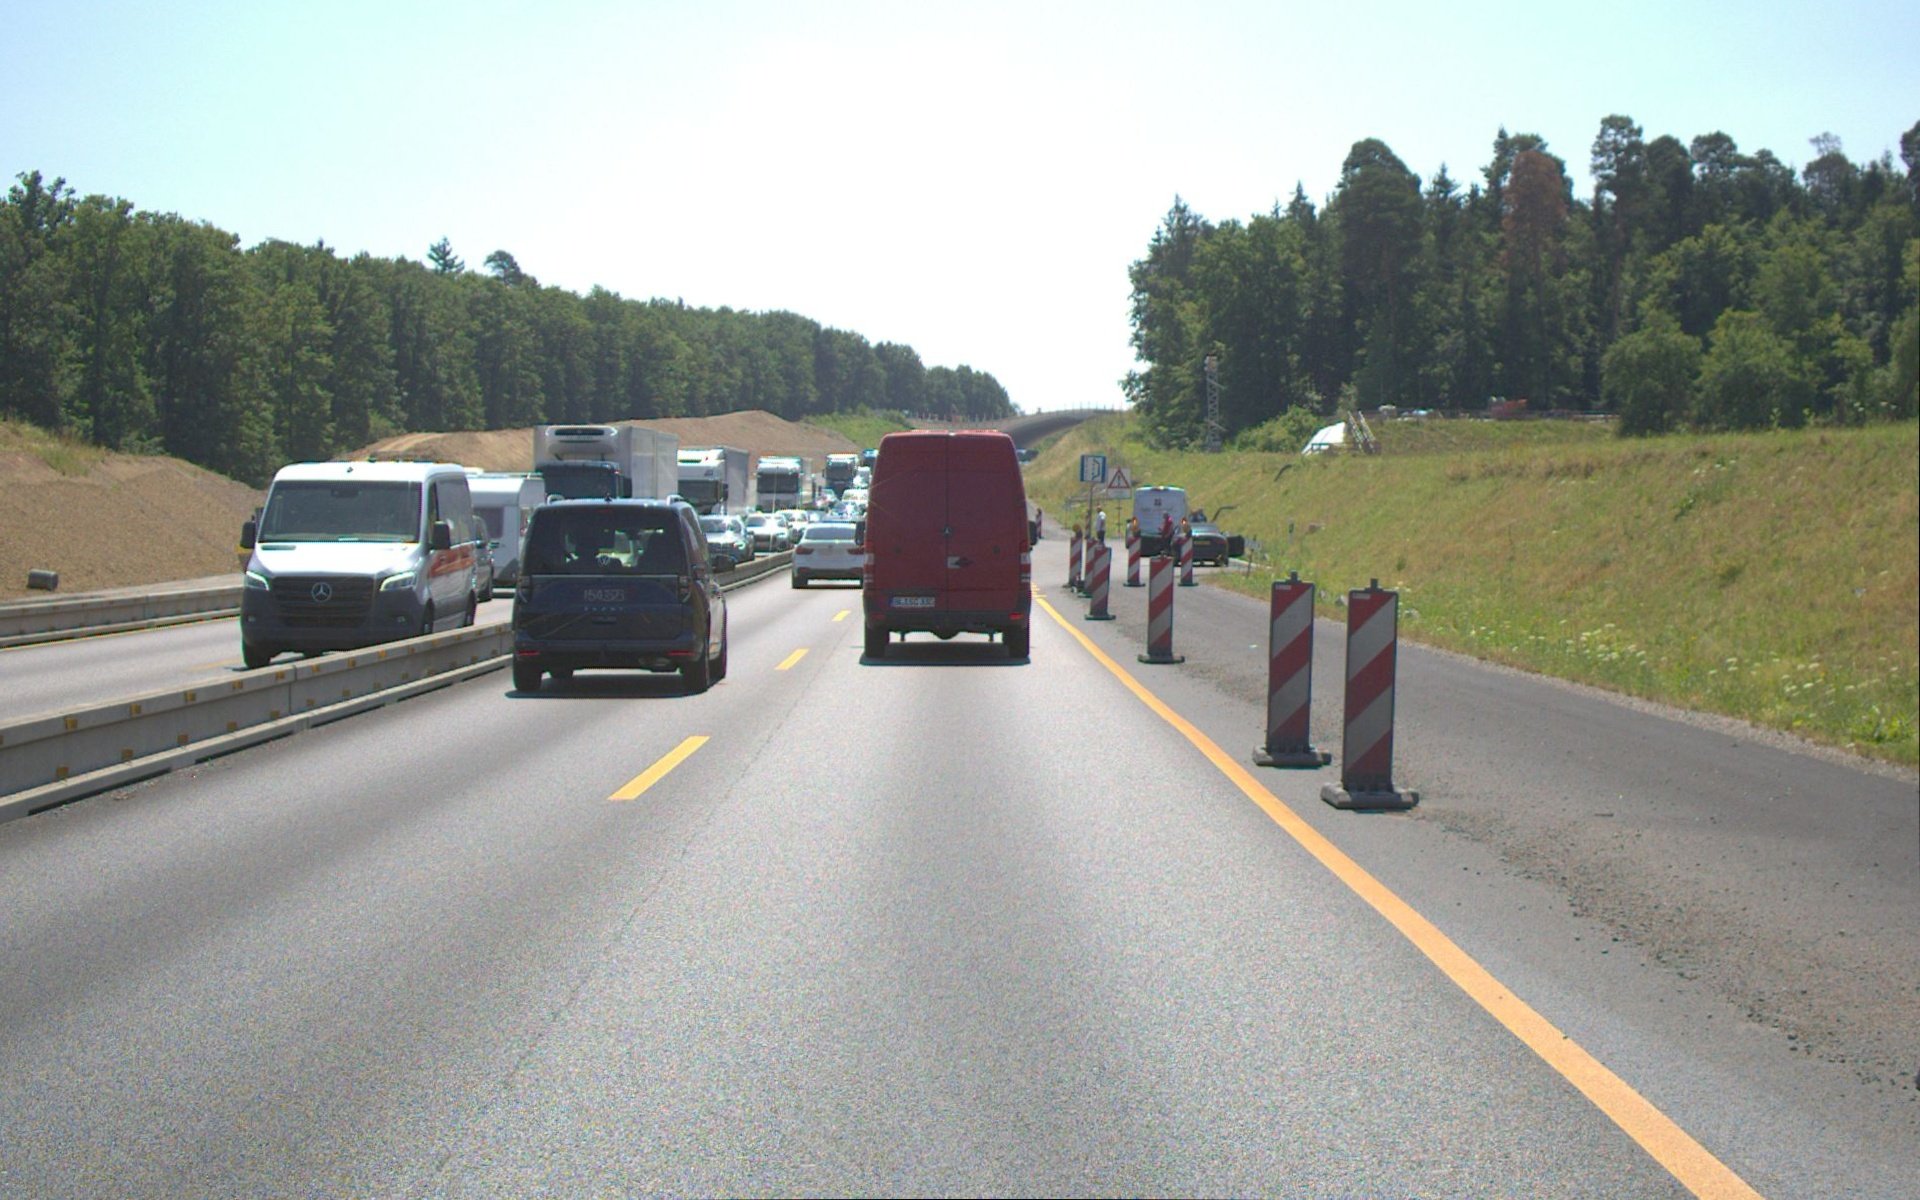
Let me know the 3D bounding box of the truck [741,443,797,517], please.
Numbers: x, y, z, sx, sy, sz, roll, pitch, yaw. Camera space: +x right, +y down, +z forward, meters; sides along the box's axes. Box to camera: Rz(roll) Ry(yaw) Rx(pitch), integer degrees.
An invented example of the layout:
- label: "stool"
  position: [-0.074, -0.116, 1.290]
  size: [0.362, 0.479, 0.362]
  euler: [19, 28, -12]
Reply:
- label: "truck"
  position: [-10.783, -6.771, 194.537]
  size: [2.768, 4.030, 4.943]
  euler: [1, 1, 1]

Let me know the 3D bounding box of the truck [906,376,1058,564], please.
- label: "truck"
  position: [0.662, -3.934, 109.567]
  size: [4.400, 5.477, 16.604]
  euler: [1, 1, 0]

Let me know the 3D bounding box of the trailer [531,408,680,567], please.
- label: "trailer"
  position: [-10.043, -3.179, 99.136]
  size: [2.502, 4.165, 15.535]
  euler: [-1, 1, 0]

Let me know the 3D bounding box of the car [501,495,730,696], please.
- label: "car"
  position: [-3.308, -0.114, 33.791]
  size: [1.751, 1.818, 4.783]
  euler: [1, 2, 0]

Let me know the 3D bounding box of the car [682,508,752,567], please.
- label: "car"
  position: [-6.903, -1.773, 98.009]
  size: [1.688, 1.608, 4.594]
  euler: [1, 1, 0]

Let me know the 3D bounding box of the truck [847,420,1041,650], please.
- label: "truck"
  position: [-0.268, -0.773, 41.715]
  size: [2.153, 2.581, 5.334]
  euler: [1, 1, -2]

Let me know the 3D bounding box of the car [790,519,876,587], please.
- label: "car"
  position: [-2.933, -1.102, 79.957]
  size: [1.831, 1.517, 3.961]
  euler: [1, 1, 0]

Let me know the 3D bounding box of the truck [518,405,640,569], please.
- label: "truck"
  position: [-10.103, -2.996, 91.688]
  size: [2.491, 4.184, 5.912]
  euler: [-1, 1, 0]

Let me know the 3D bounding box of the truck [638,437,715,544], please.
- label: "truck"
  position: [-10.979, -4.253, 133.553]
  size: [2.591, 4.039, 5.150]
  euler: [1, 2, -1]

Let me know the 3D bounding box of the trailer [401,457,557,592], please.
- label: "trailer"
  position: [-10.106, -1.609, 72.780]
  size: [2.311, 2.677, 6.756]
  euler: [-1, 1, 0]

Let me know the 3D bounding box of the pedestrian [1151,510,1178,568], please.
- label: "pedestrian"
  position: [6.510, -1.933, 109.357]
  size: [0.640, 1.822, 0.559]
  euler: [0, 2, -21]

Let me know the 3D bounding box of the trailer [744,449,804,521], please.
- label: "trailer"
  position: [-10.831, -6.726, 201.598]
  size: [2.790, 4.061, 13.712]
  euler: [1, 2, 0]

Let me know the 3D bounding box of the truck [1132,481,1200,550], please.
- label: "truck"
  position: [7.702, -3.171, 127.976]
  size: [2.130, 2.448, 5.924]
  euler: [1, 2, 7]

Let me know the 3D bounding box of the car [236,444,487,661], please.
- label: "car"
  position: [-6.761, -0.541, 39.383]
  size: [1.993, 2.284, 5.344]
  euler: [1, 1, -1]

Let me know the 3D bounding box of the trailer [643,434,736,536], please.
- label: "trailer"
  position: [-10.985, -4.666, 140.769]
  size: [2.653, 3.924, 13.997]
  euler: [1, 1, 0]

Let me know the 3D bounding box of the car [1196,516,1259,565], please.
- label: "car"
  position: [8.515, -1.924, 109.786]
  size: [1.654, 1.422, 4.545]
  euler: [-2, 2, 1]

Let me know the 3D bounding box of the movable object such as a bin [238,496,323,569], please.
- label: "movable object such as a bin"
  position: [-30.178, -3.046, 152.958]
  size: [2.168, 3.098, 7.165]
  euler: [-2, 2, 1]
